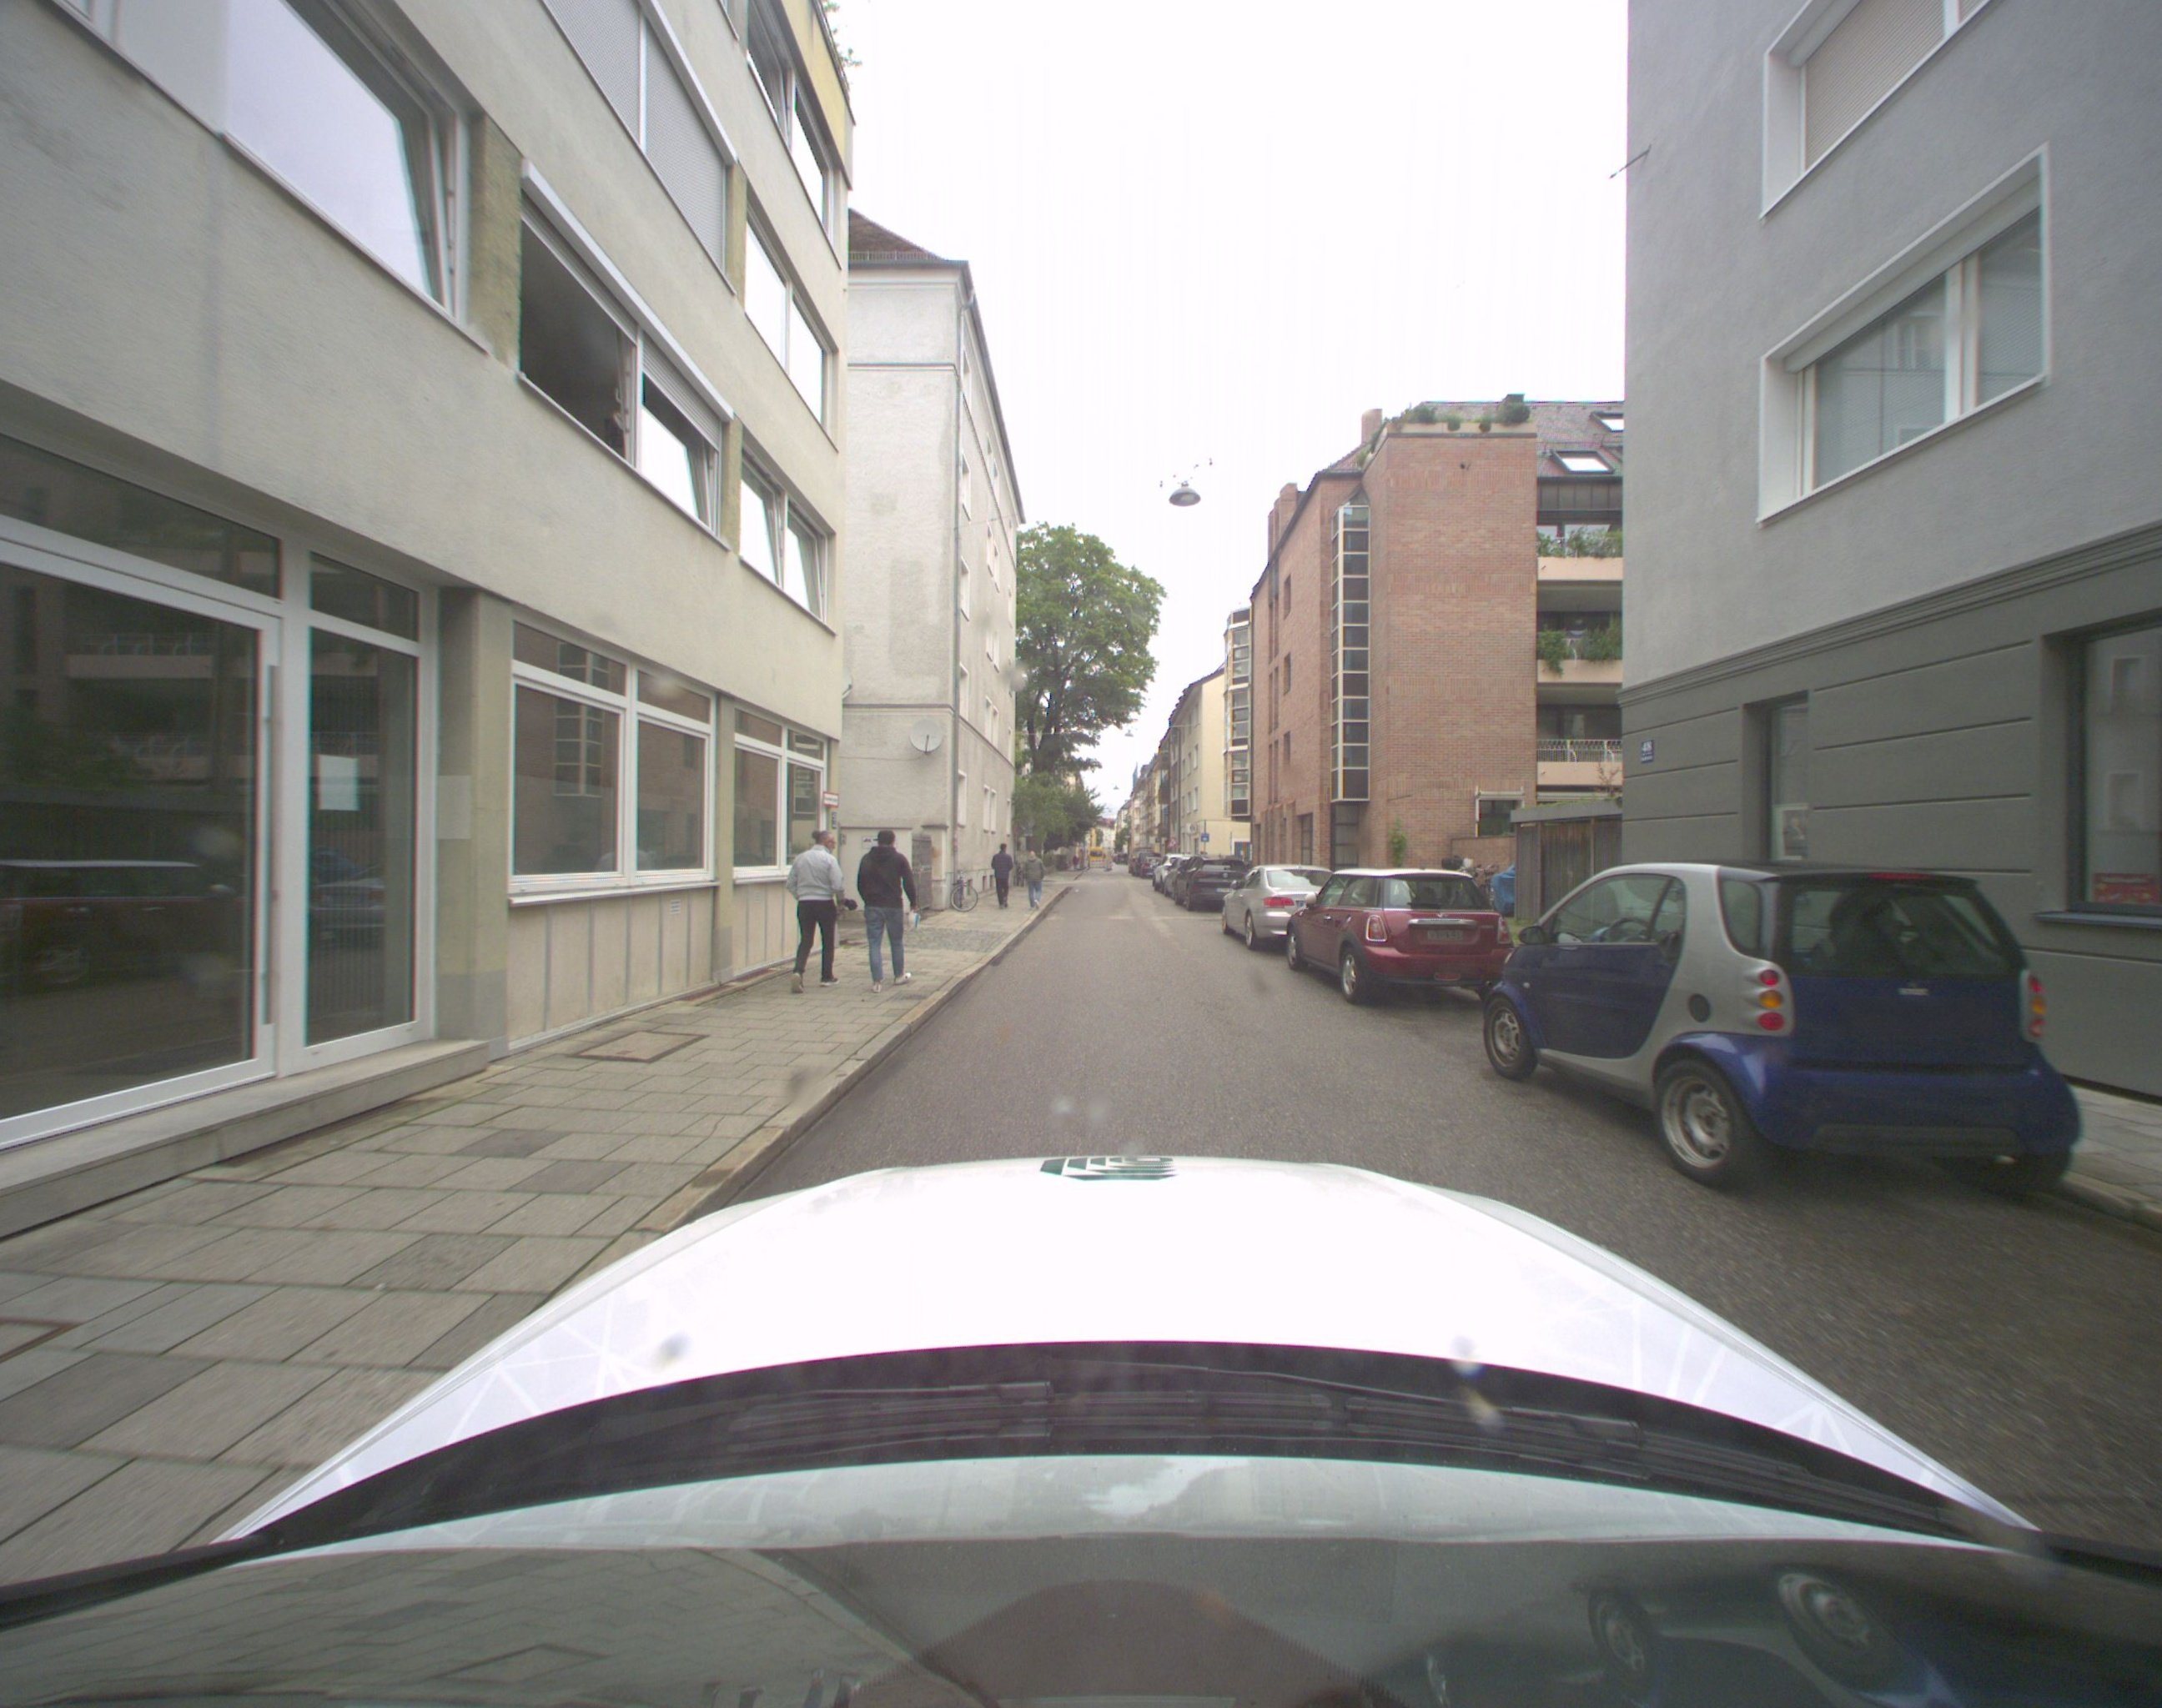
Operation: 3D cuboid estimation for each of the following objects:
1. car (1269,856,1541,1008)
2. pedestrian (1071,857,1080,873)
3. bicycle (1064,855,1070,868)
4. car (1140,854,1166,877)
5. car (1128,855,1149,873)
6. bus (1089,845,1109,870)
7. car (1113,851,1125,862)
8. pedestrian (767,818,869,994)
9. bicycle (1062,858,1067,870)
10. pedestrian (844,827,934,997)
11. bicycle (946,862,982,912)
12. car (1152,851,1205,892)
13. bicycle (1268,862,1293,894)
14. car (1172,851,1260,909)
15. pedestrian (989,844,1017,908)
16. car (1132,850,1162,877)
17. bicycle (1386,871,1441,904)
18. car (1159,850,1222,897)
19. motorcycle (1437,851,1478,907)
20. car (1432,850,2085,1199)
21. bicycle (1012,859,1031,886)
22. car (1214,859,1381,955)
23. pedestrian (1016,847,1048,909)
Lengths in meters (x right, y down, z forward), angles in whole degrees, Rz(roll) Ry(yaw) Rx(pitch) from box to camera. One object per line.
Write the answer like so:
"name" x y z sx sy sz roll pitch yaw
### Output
"car" 3.649 0.765 10.027 1.740 1.462 4.150 1 0 0
"pedestrian" -0.539 1.092 79.742 0.753 1.491 0.831 -1 -1 1
"bicycle" -1.513 0.786 87.662 0.512 1.418 1.934 -1 -1 1
"car" 4.963 0.779 56.599 1.618 1.487 3.810 1 0 2
"car" 5.098 0.865 72.846 1.630 1.515 3.830 4 0 1
"bus" 2.410 0.500 106.723 2.583 3.102 6.308 -1 -1 2
"car" 6.412 0.423 138.664 1.795 1.712 3.826 4 0 0
"pedestrian" -2.831 0.539 8.856 0.715 1.796 0.917 2 -1 2
"bicycle" -1.520 0.934 74.850 0.444 1.073 2.467 -1 -1 0
"pedestrian" -2.098 0.615 9.003 0.715 1.765 0.838 2 -1 2
"bicycle" -3.002 0.828 20.823 0.643 1.217 1.655 0 -1 -17
"car" 4.087 0.708 34.753 1.743 1.630 4.195 0 0 -1
"bicycle" 6.997 0.828 28.628 0.557 1.079 1.472 0 0 2
"car" 3.936 0.708 24.477 1.880 1.555 4.390 1 0 -1
"pedestrian" -2.143 0.599 22.422 0.610 1.713 0.823 2 -1 1
"car" 4.921 0.691 60.962 1.796 1.820 3.999 4 0 -1
"bicycle" 9.014 0.910 22.103 1.311 0.859 0.414 -1 -1 1
"car" 4.016 0.704 30.325 1.716 1.635 3.878 -1 -1 -2
"motorcycle" 9.519 0.621 20.630 0.536 1.345 1.947 -1 -1 13
"car" 3.653 0.745 5.158 1.516 1.511 3.202 1 0 0
"bicycle" -2.580 0.804 35.434 0.474 1.111 1.751 1 0 -16
"car" 3.655 0.816 14.629 1.830 1.417 4.601 1 0 0
"pedestrian" -1.342 0.655 22.507 0.750 1.659 0.906 2 -1 1
